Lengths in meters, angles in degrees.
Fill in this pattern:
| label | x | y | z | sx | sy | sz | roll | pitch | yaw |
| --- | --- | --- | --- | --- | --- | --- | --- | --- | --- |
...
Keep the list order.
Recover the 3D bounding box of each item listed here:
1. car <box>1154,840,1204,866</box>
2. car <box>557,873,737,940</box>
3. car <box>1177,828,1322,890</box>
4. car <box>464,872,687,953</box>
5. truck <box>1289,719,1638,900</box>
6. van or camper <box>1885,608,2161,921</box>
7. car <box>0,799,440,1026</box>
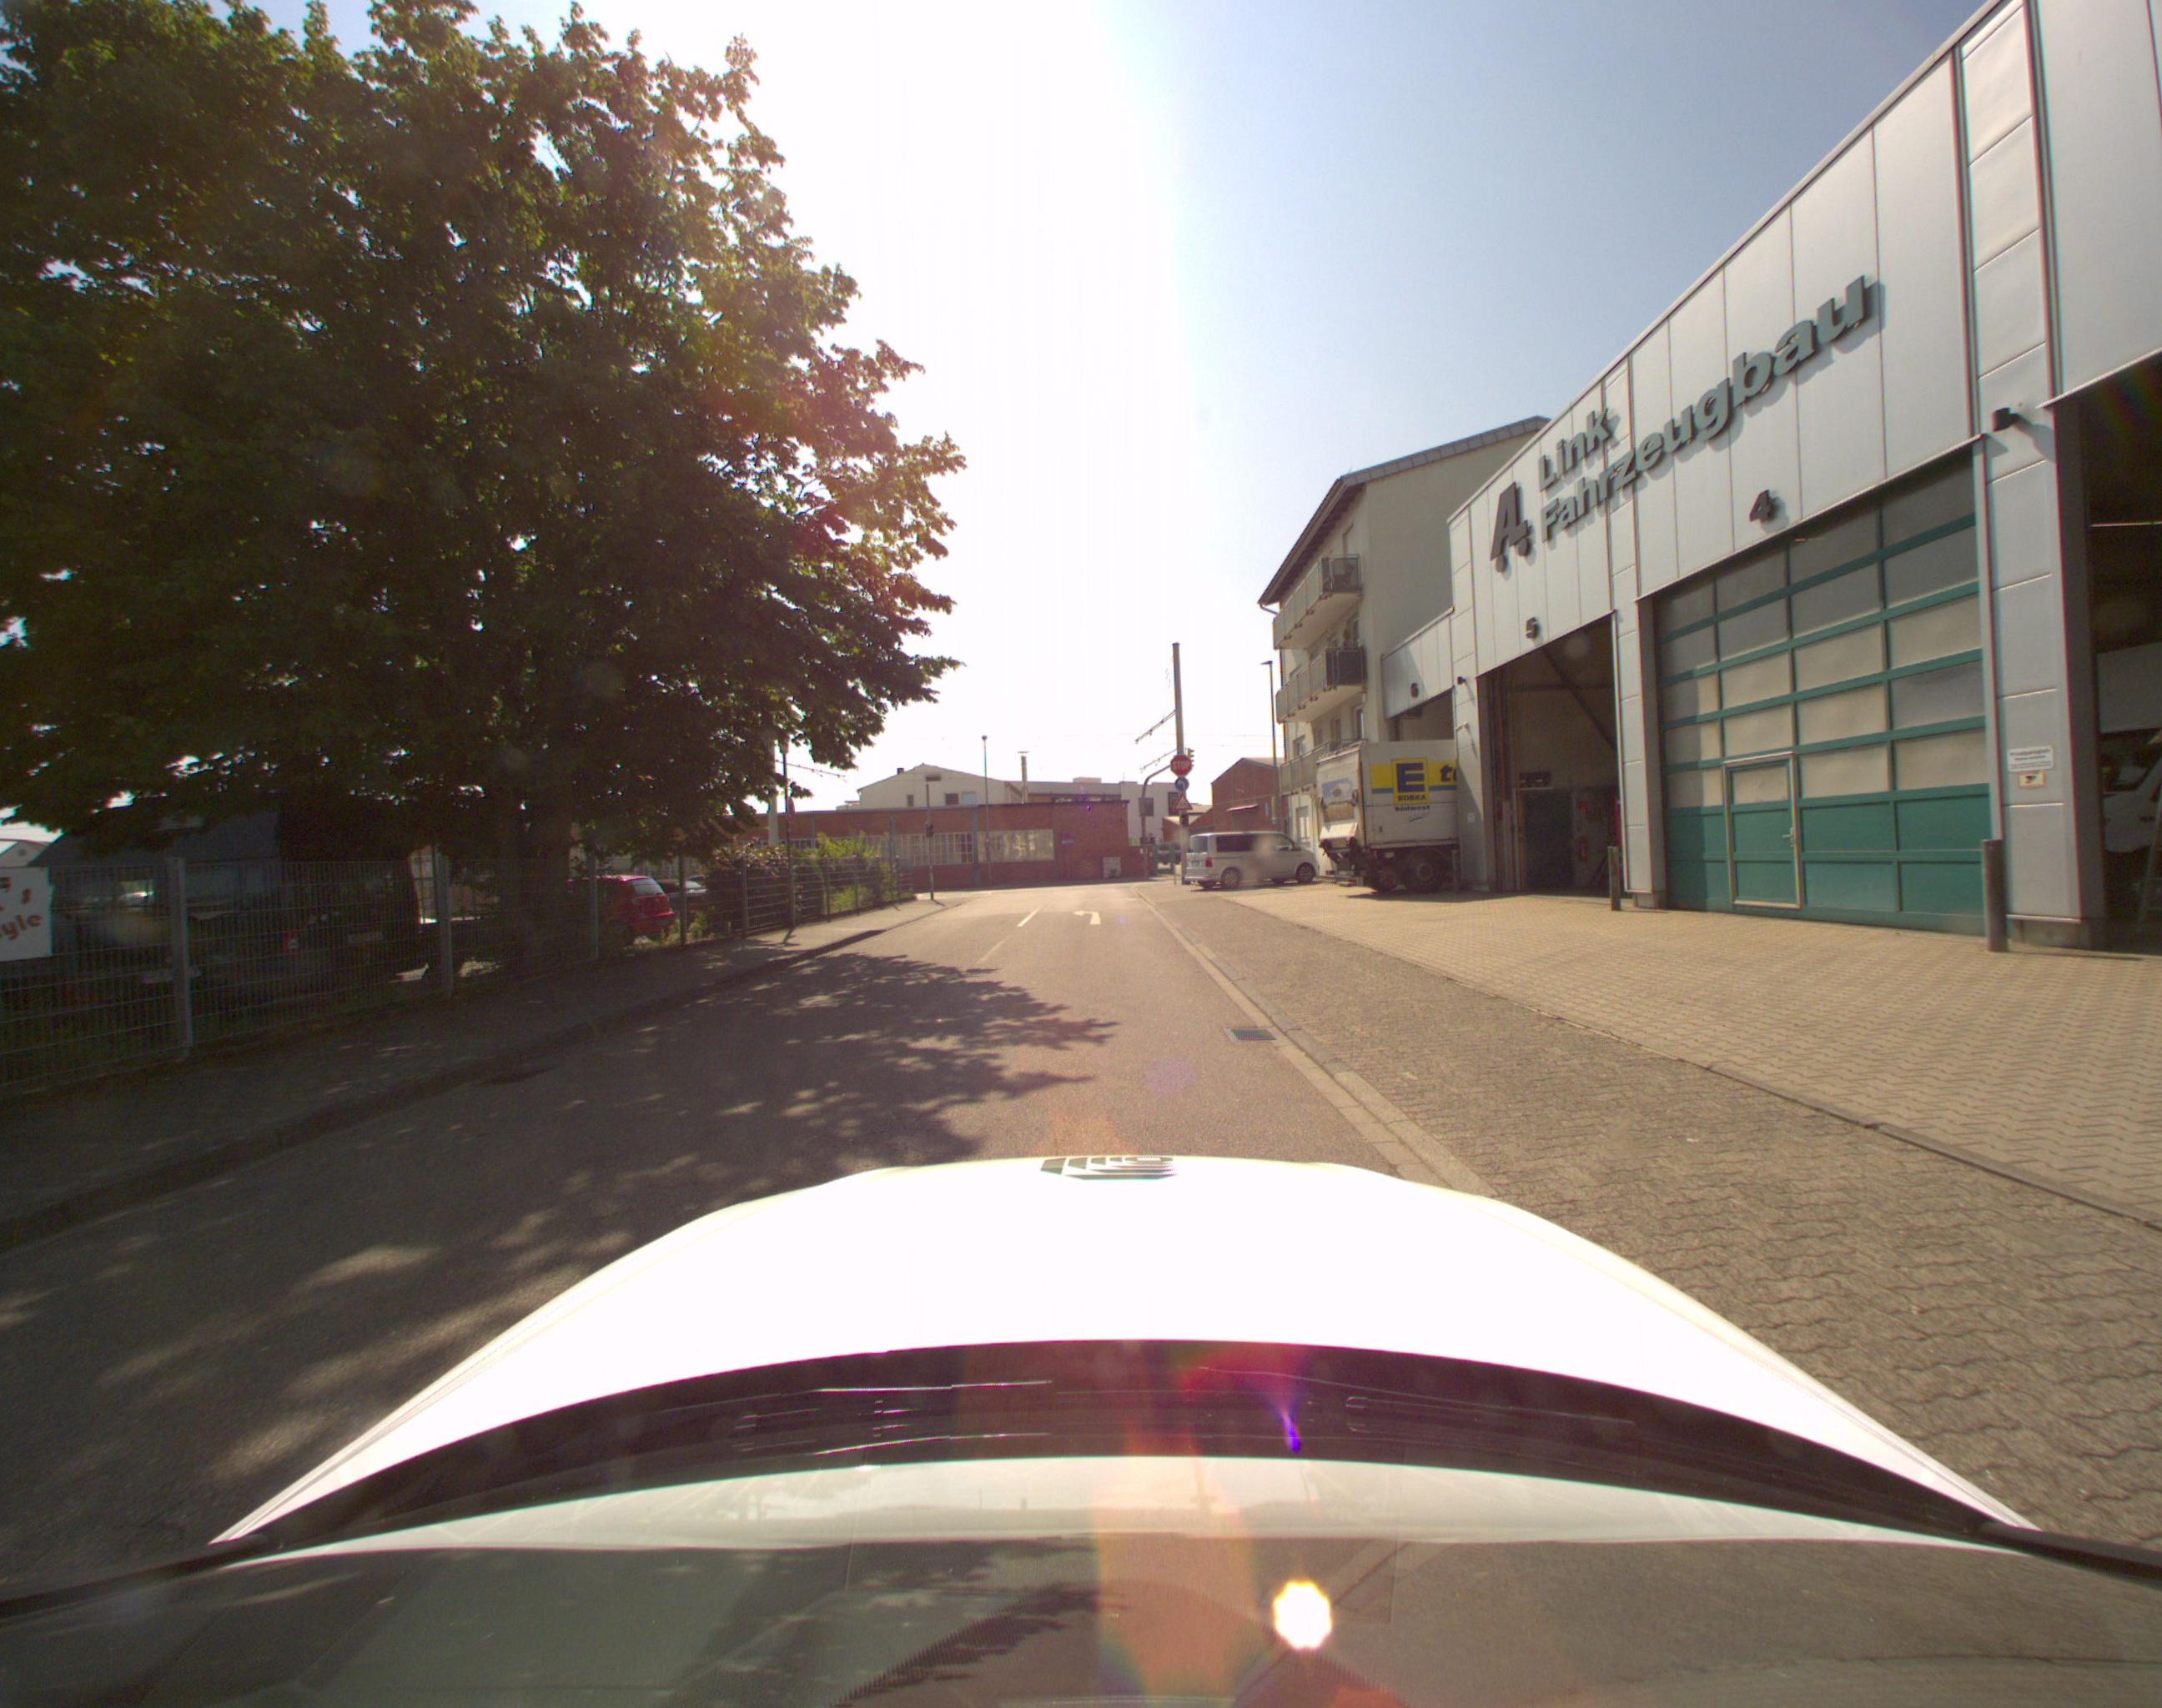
| label | x | y | z | sx | sy | sz | roll | pitch | yaw |
| --- | --- | --- | --- | --- | --- | --- | --- | --- | --- |
| car | 8.911 | -0.107 | 73.941 | 4.013 | 2.189 | 1.980 | -2 | 0 | -31 |
| car | -11.029 | 1.323 | 20.820 | 3.641 | 1.477 | 1.739 | -2 | 0 | 7 |
| car | 5.981 | 0.154 | 28.926 | 4.667 | 1.957 | 1.904 | -2 | 0 | -18 |
| car | -10.777 | 1.217 | 17.560 | 3.648 | 1.477 | 1.736 | -2 | 0 | 0 |
| truck | 9.426 | -1.081 | 20.522 | 7.348 | 3.645 | 2.763 | -5 | 0 | -5 |
| van or camper | 12.944 | -1.031 | 9.730 | 4.744 | 3.288 | 1.998 | -2 | 0 | -3 |
| car | -11.037 | 0.688 | 10.452 | 4.073 | 2.513 | 1.776 | -2 | 0 | -1 |
